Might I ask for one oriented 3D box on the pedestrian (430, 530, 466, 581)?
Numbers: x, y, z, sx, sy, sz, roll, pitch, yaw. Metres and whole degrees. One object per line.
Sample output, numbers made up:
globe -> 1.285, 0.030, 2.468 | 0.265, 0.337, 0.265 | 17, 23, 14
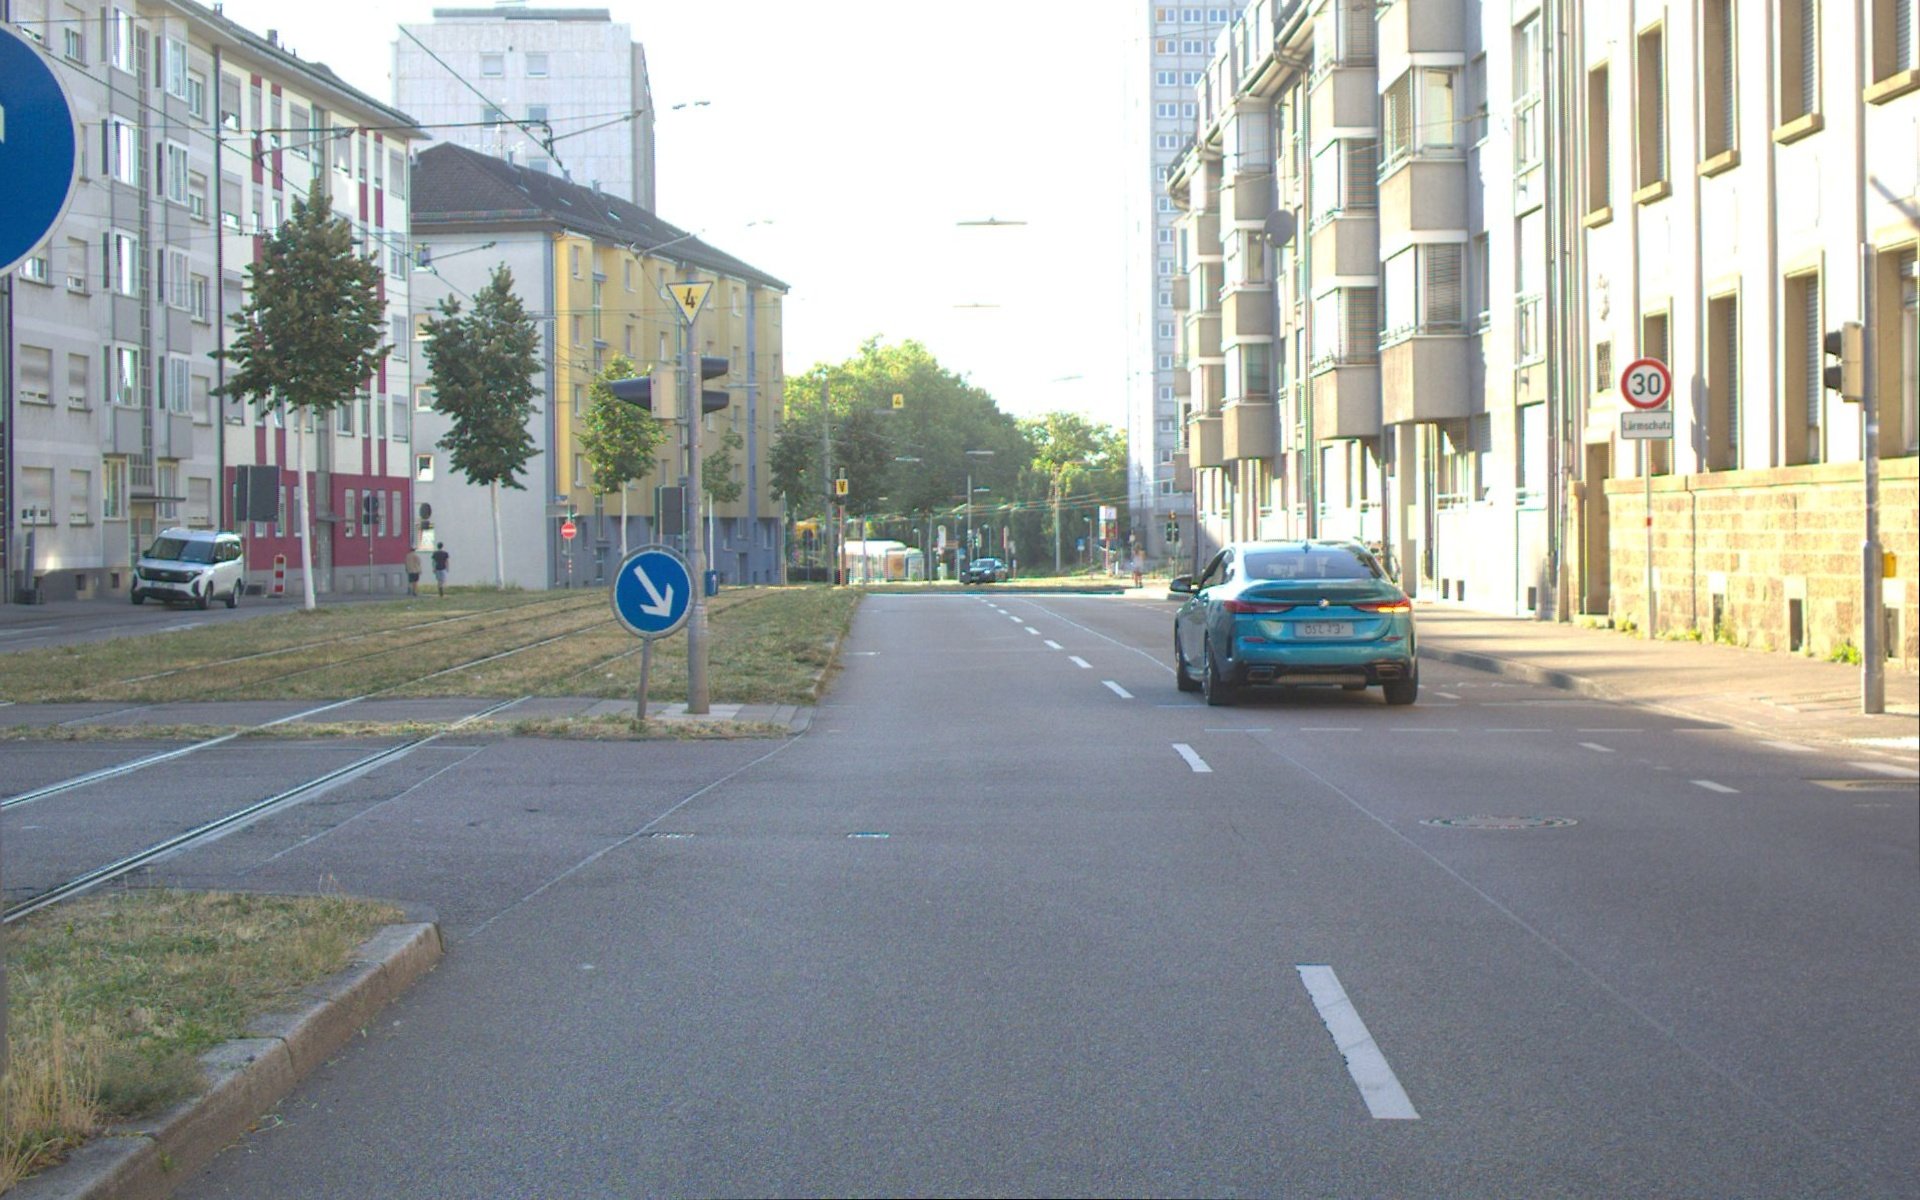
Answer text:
pedestrian -> -17.047, -1.475, 114.473 | 0.962, 1.664, 1.011 | 1, 0, 5

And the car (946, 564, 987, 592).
car -> 0.431, -1.371, 212.246 | 1.898, 1.628, 4.746 | -1, 1, 8

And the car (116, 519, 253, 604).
car -> -18.361, -0.910, 81.586 | 1.994, 1.918, 4.541 | 1, 1, 3

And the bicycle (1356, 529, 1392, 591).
bicycle -> 7.453, -0.719, 61.905 | 0.383, 1.092, 1.504 | -1, 1, -3

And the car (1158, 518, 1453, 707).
car -> 2.998, 0.082, 30.776 | 1.993, 1.549, 4.394 | 1, 1, -3

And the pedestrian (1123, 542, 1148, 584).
pedestrian -> 5.249, -1.114, 102.978 | 0.691, 1.230, 0.736 | 1, 0, 0
